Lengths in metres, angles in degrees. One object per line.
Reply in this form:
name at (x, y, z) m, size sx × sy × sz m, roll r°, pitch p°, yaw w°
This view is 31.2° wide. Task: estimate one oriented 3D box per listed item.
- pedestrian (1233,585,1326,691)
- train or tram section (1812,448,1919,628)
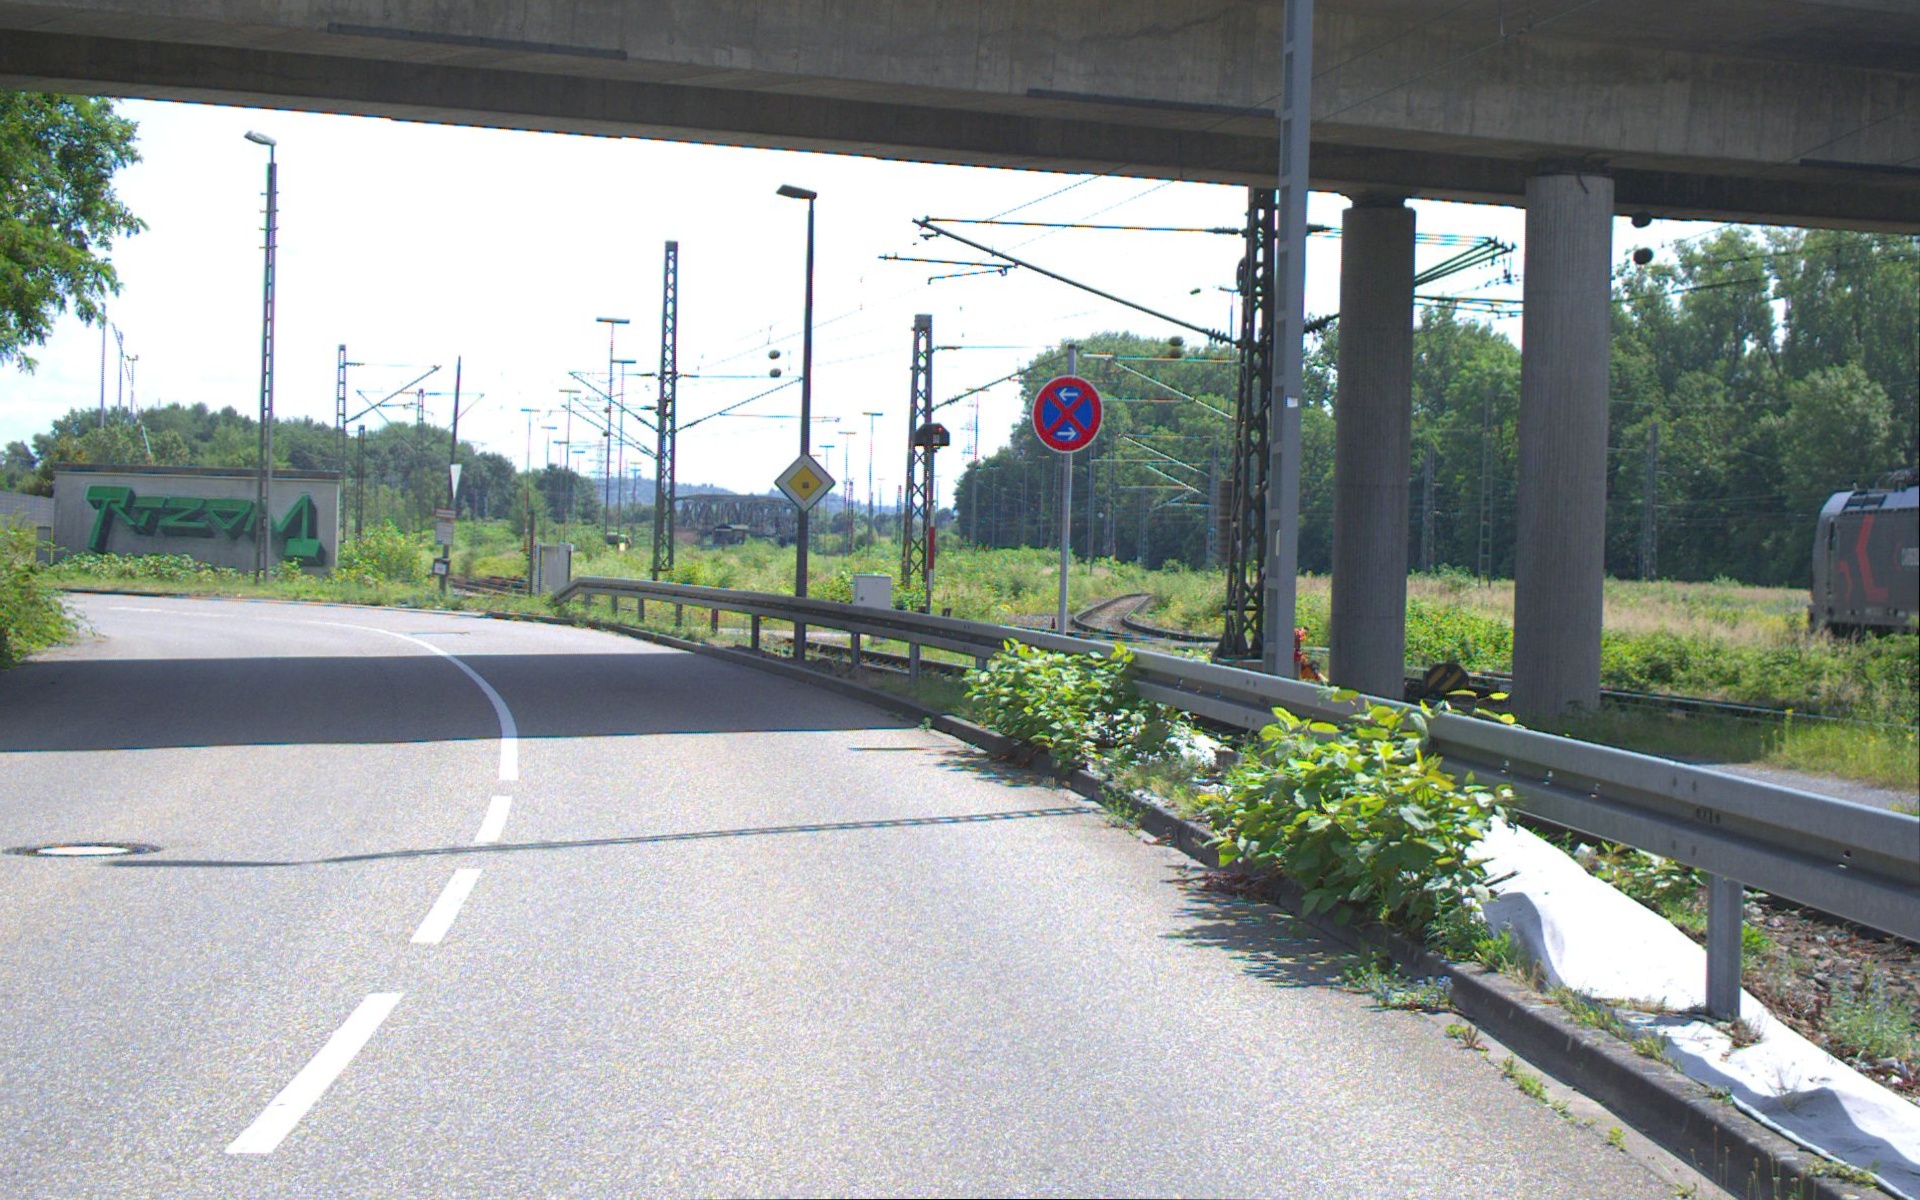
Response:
pedestrian at (4.773, 0.564, 51.485) m, size 1.110 × 1.534 × 1.579 m, roll 1°, pitch 0°, yaw -4°
train or tram section at (19.796, -1.184, 69.654) m, size 2.755 × 3.465 × 8.239 m, roll 1°, pitch 0°, yaw -1°
